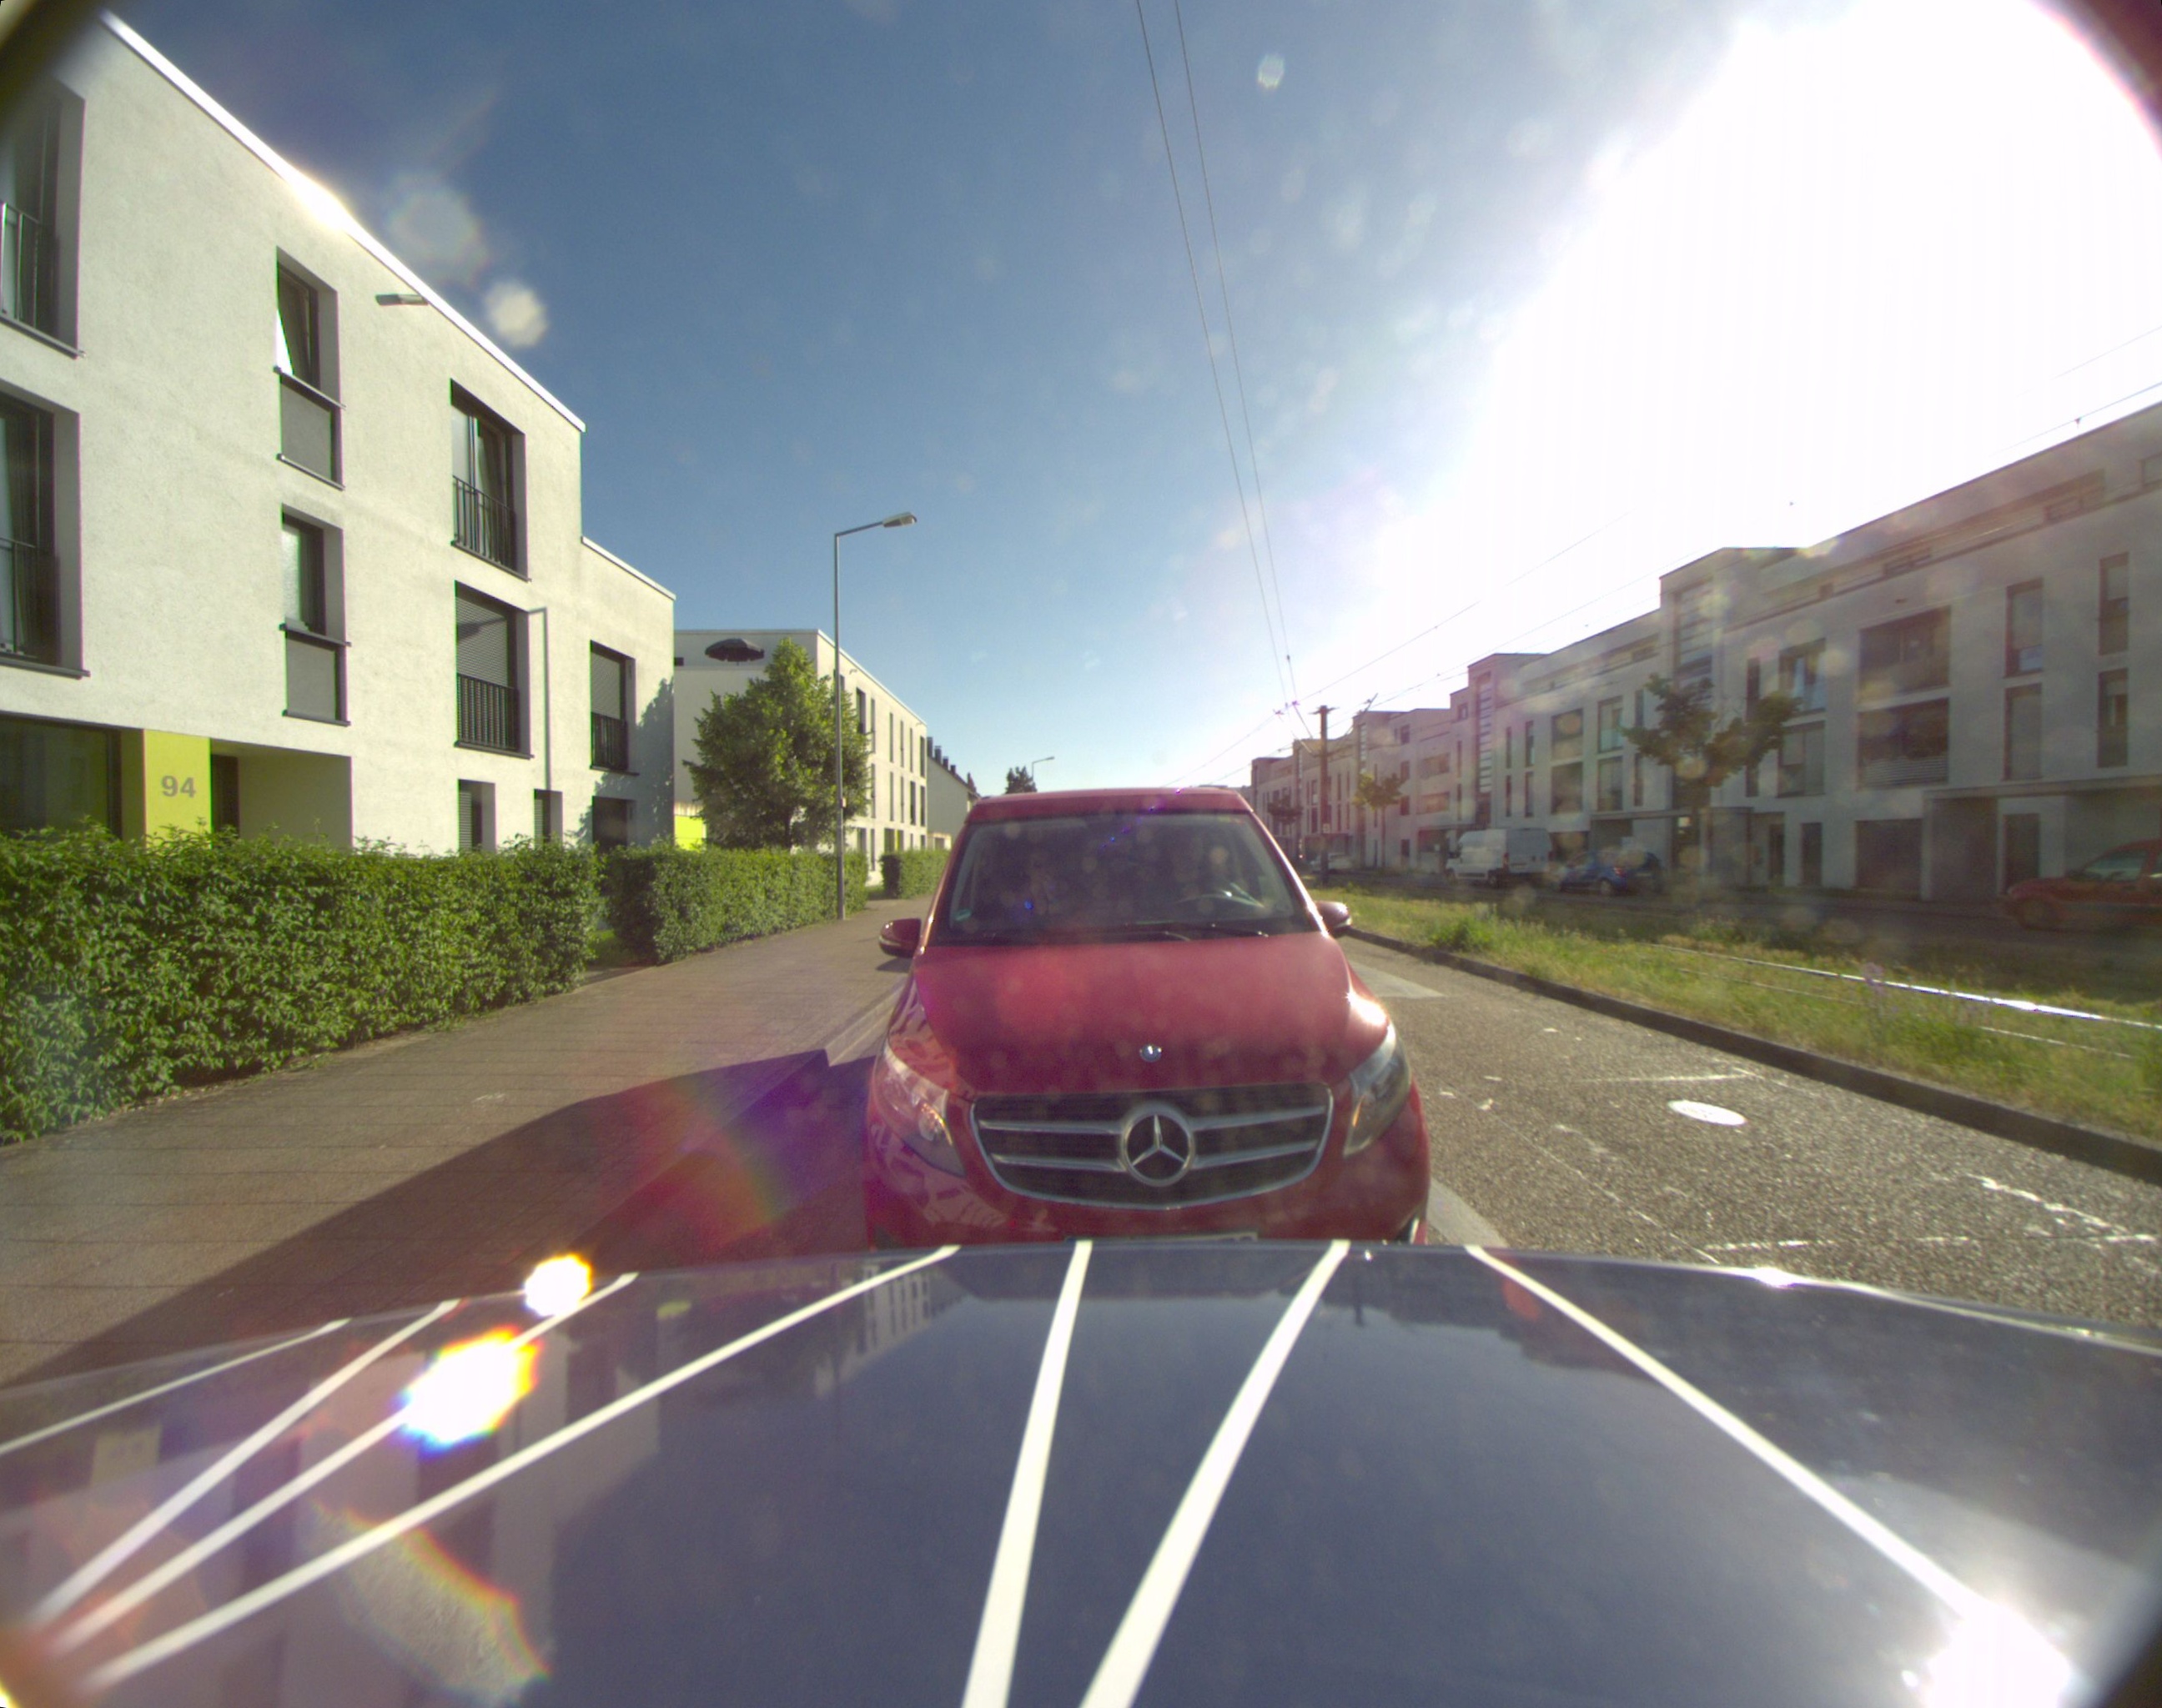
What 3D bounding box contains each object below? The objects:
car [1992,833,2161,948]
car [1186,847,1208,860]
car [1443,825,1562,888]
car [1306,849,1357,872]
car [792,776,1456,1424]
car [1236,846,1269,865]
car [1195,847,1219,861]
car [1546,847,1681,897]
[{"bbox_3d":[18.627,0.578,12.784,1.998,1.817,3.895,-2,1,3],"label":"car"},{"bbox_3d":[15.207,-0.064,99.633,1.923,1.671,4.282,-2,1,-4],"label":"car"},{"bbox_3d":[18.181,0.073,33.146,2.225,2.458,5.195,-2,1,0],"label":"car"},{"bbox_3d":[17.648,0.412,53.715,1.923,1.497,4.282,-2,1,-4],"label":"car"},{"bbox_3d":[0.161,0.704,4.474,1.874,1.843,4.506,-2,1,1],"label":"car"},{"bbox_3d":[16.735,0.130,74.330,1.923,1.671,4.282,-2,1,-4],"label":"car"},{"bbox_3d":[15.493,-0.041,93.882,1.923,1.671,4.282,-2,1,-4],"label":"car"},{"bbox_3d":[18.388,0.575,26.475,1.998,1.536,3.835,-2,1,0],"label":"car"}]
